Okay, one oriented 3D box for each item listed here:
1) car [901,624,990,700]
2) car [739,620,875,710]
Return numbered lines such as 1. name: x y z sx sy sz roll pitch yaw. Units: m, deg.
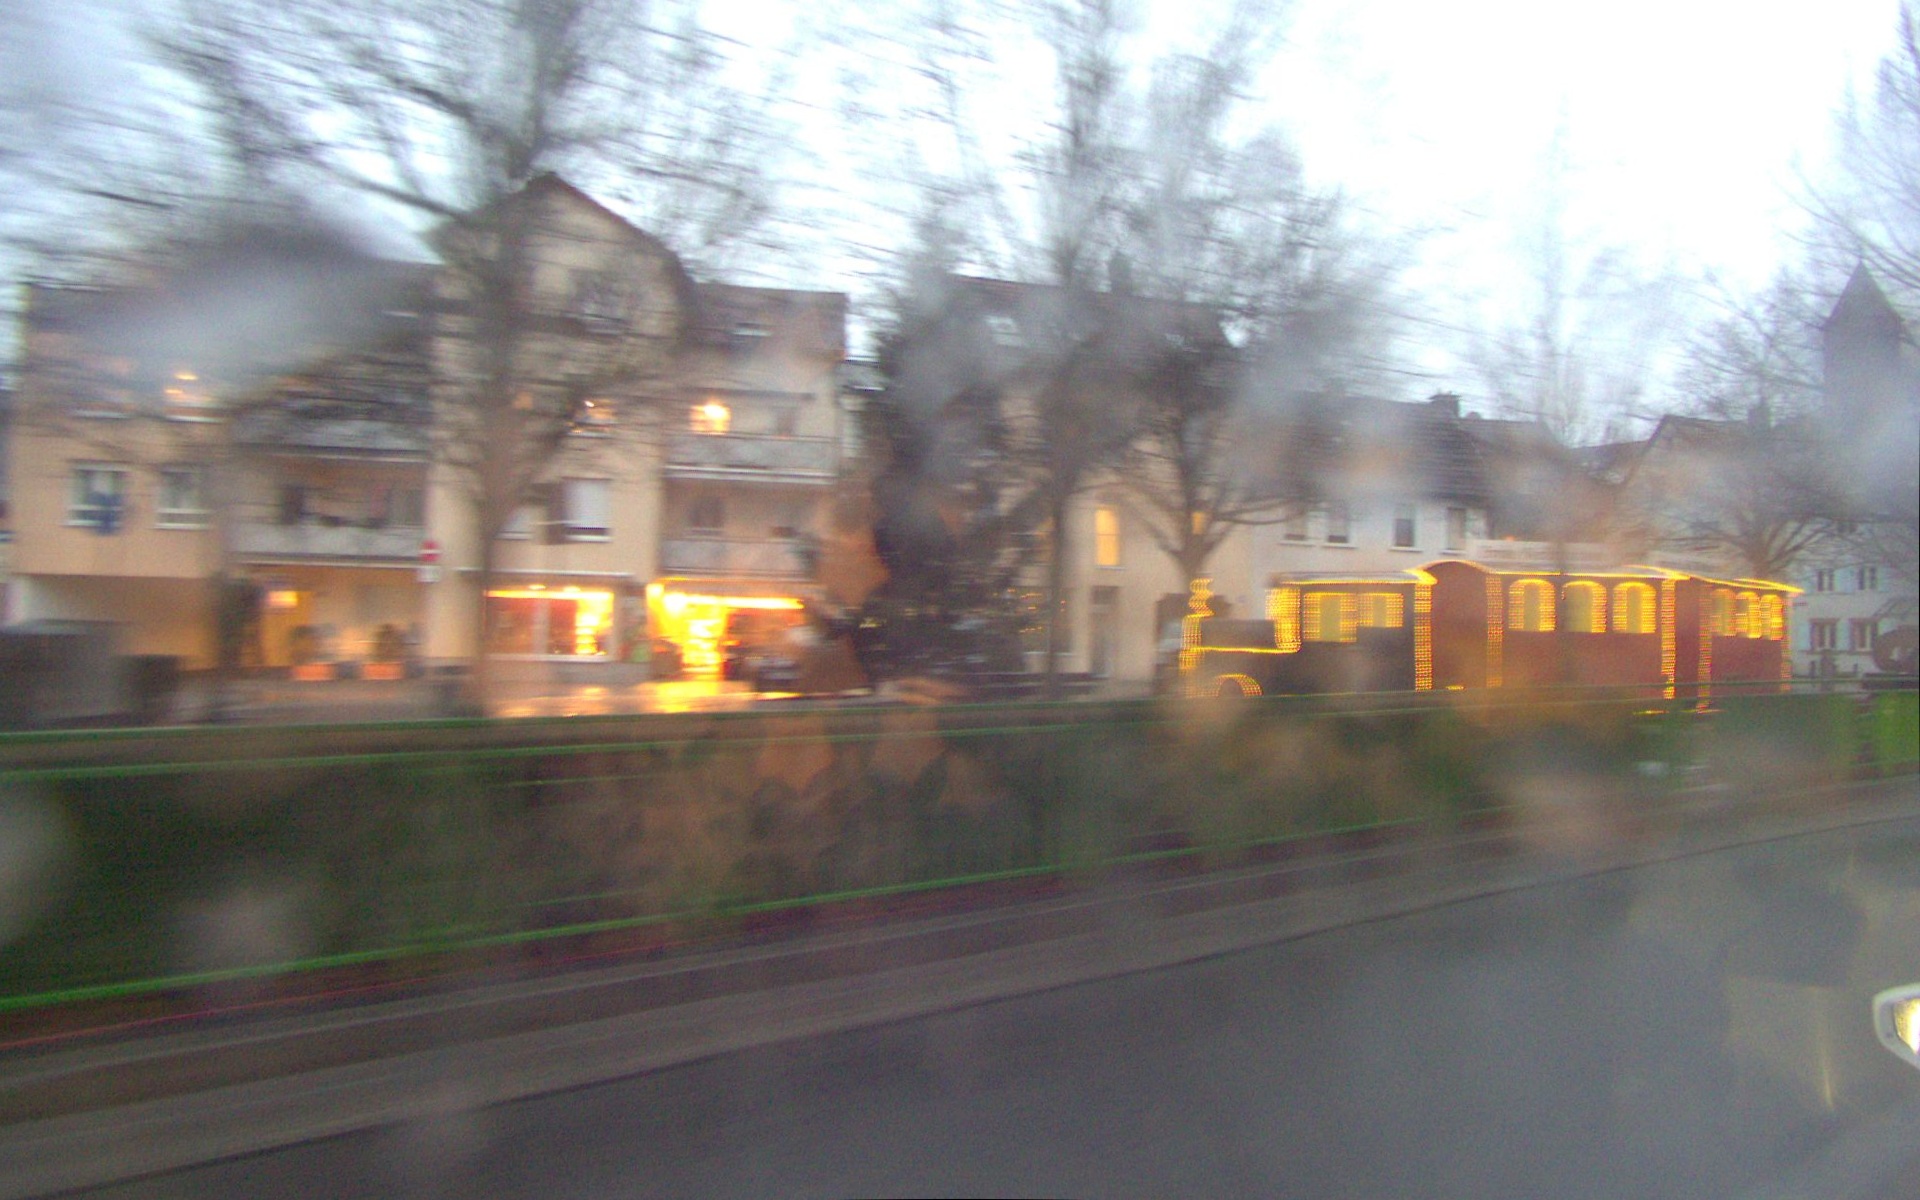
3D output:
1. car: -0.211 1.159 19.784 1.582 1.346 3.328 0 -1 2
2. car: -2.800 1.154 19.259 1.884 1.528 4.001 0 -1 2
